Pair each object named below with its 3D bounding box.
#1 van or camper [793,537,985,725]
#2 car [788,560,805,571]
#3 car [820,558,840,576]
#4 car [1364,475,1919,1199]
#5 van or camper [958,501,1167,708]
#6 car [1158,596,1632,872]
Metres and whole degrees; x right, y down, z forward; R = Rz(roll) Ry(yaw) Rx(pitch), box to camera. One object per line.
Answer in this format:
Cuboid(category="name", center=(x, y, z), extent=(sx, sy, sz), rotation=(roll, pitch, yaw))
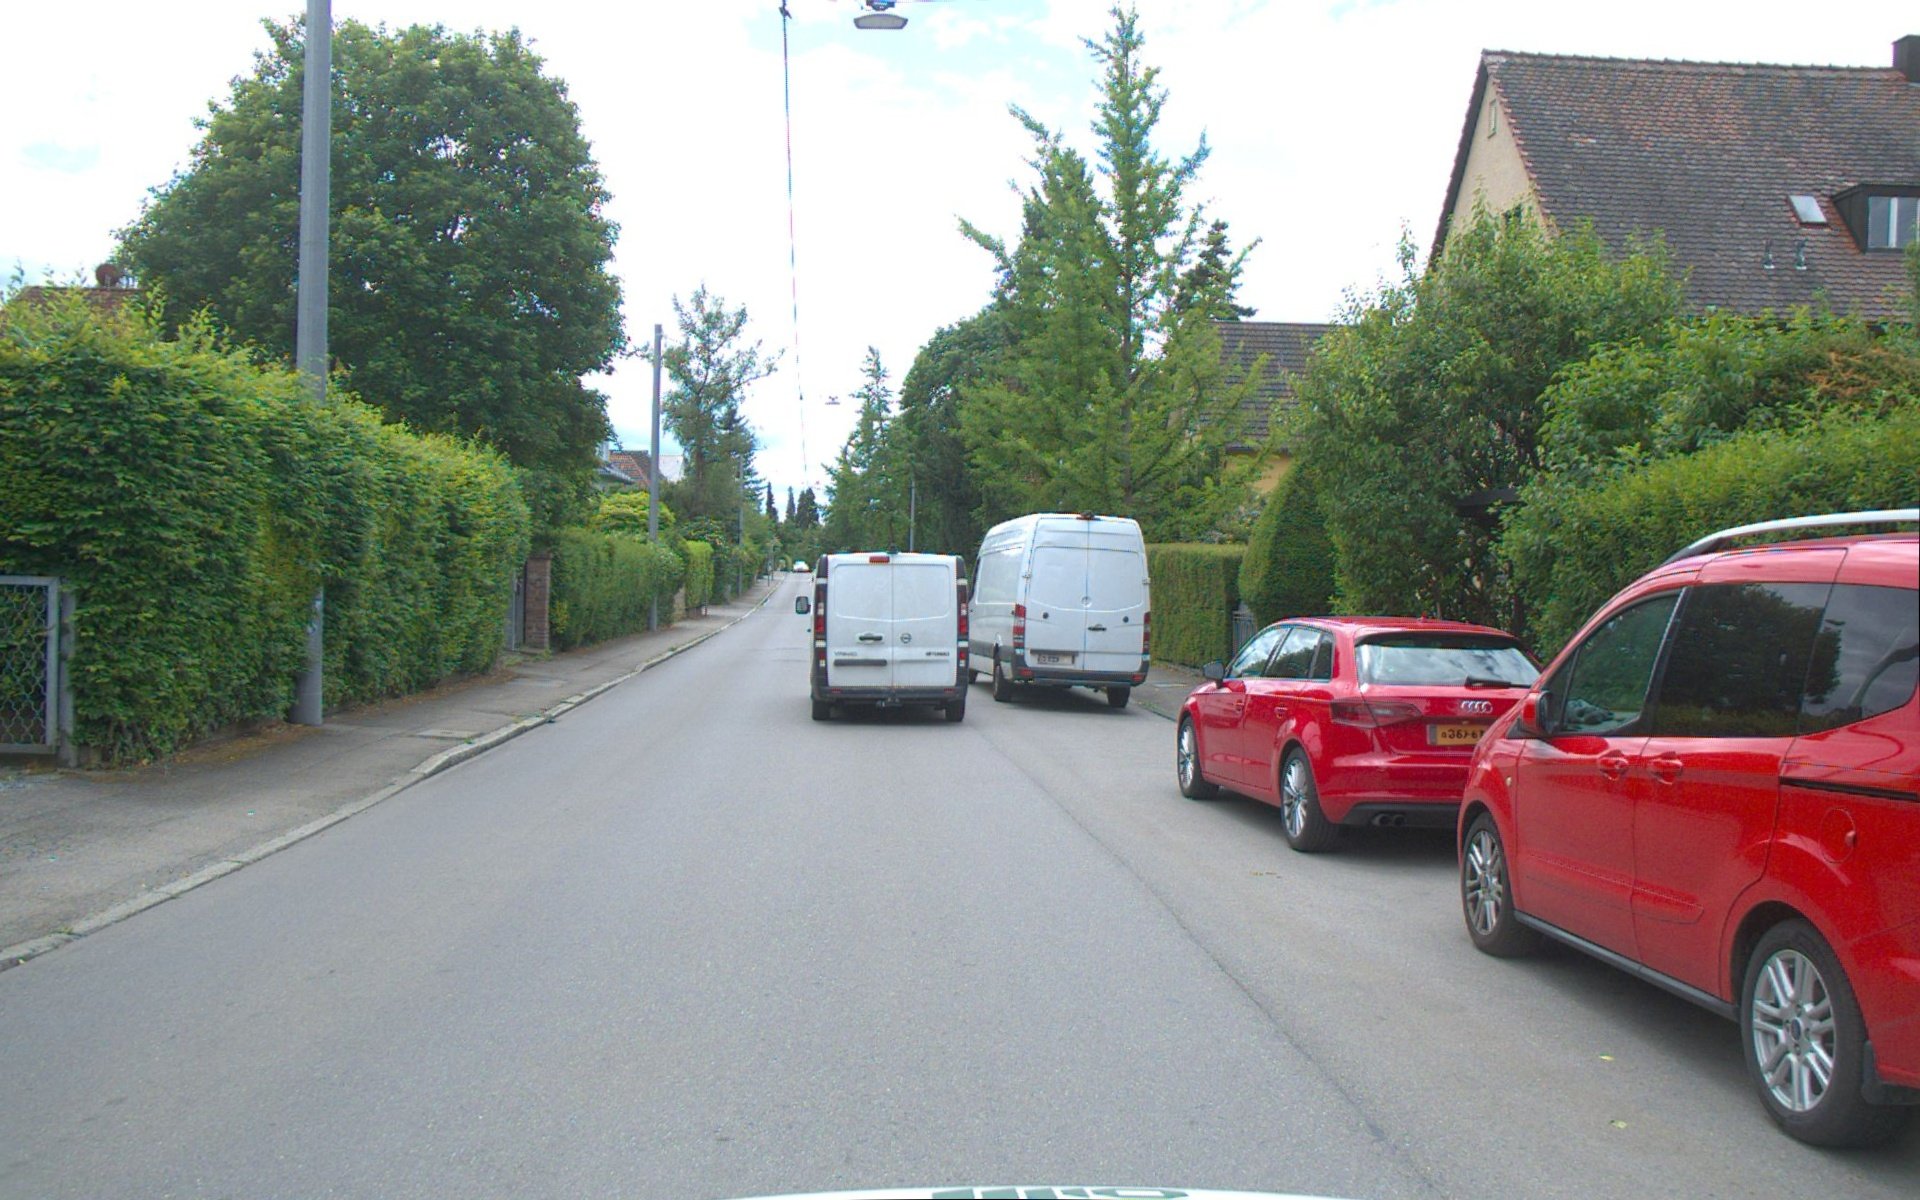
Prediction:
Cuboid(category="van or camper", center=(-1.031, 0.267, 20.964), extent=(1.888, 2.048, 4.821), rotation=(1, 2, -9))
Cuboid(category="car", center=(-21.624, -4.544, 218.966), extent=(1.653, 1.501, 3.583), rotation=(0, 1, 2))
Cuboid(category="car", center=(-12.423, -3.153, 158.073), extent=(1.742, 1.679, 3.640), rotation=(1, 2, -7))
Cuboid(category="car", center=(3.163, 0.585, 6.322), extent=(1.726, 1.828, 4.945), rotation=(1, 1, -4))
Cuboid(category="van or camper", center=(1.384, 0.042, 25.330), extent=(2.027, 2.721, 6.319), rotation=(2, 0, -7))
Cuboid(category="car", center=(2.729, 0.757, 11.464), extent=(1.680, 1.493, 4.261), rotation=(1, 1, -8))
